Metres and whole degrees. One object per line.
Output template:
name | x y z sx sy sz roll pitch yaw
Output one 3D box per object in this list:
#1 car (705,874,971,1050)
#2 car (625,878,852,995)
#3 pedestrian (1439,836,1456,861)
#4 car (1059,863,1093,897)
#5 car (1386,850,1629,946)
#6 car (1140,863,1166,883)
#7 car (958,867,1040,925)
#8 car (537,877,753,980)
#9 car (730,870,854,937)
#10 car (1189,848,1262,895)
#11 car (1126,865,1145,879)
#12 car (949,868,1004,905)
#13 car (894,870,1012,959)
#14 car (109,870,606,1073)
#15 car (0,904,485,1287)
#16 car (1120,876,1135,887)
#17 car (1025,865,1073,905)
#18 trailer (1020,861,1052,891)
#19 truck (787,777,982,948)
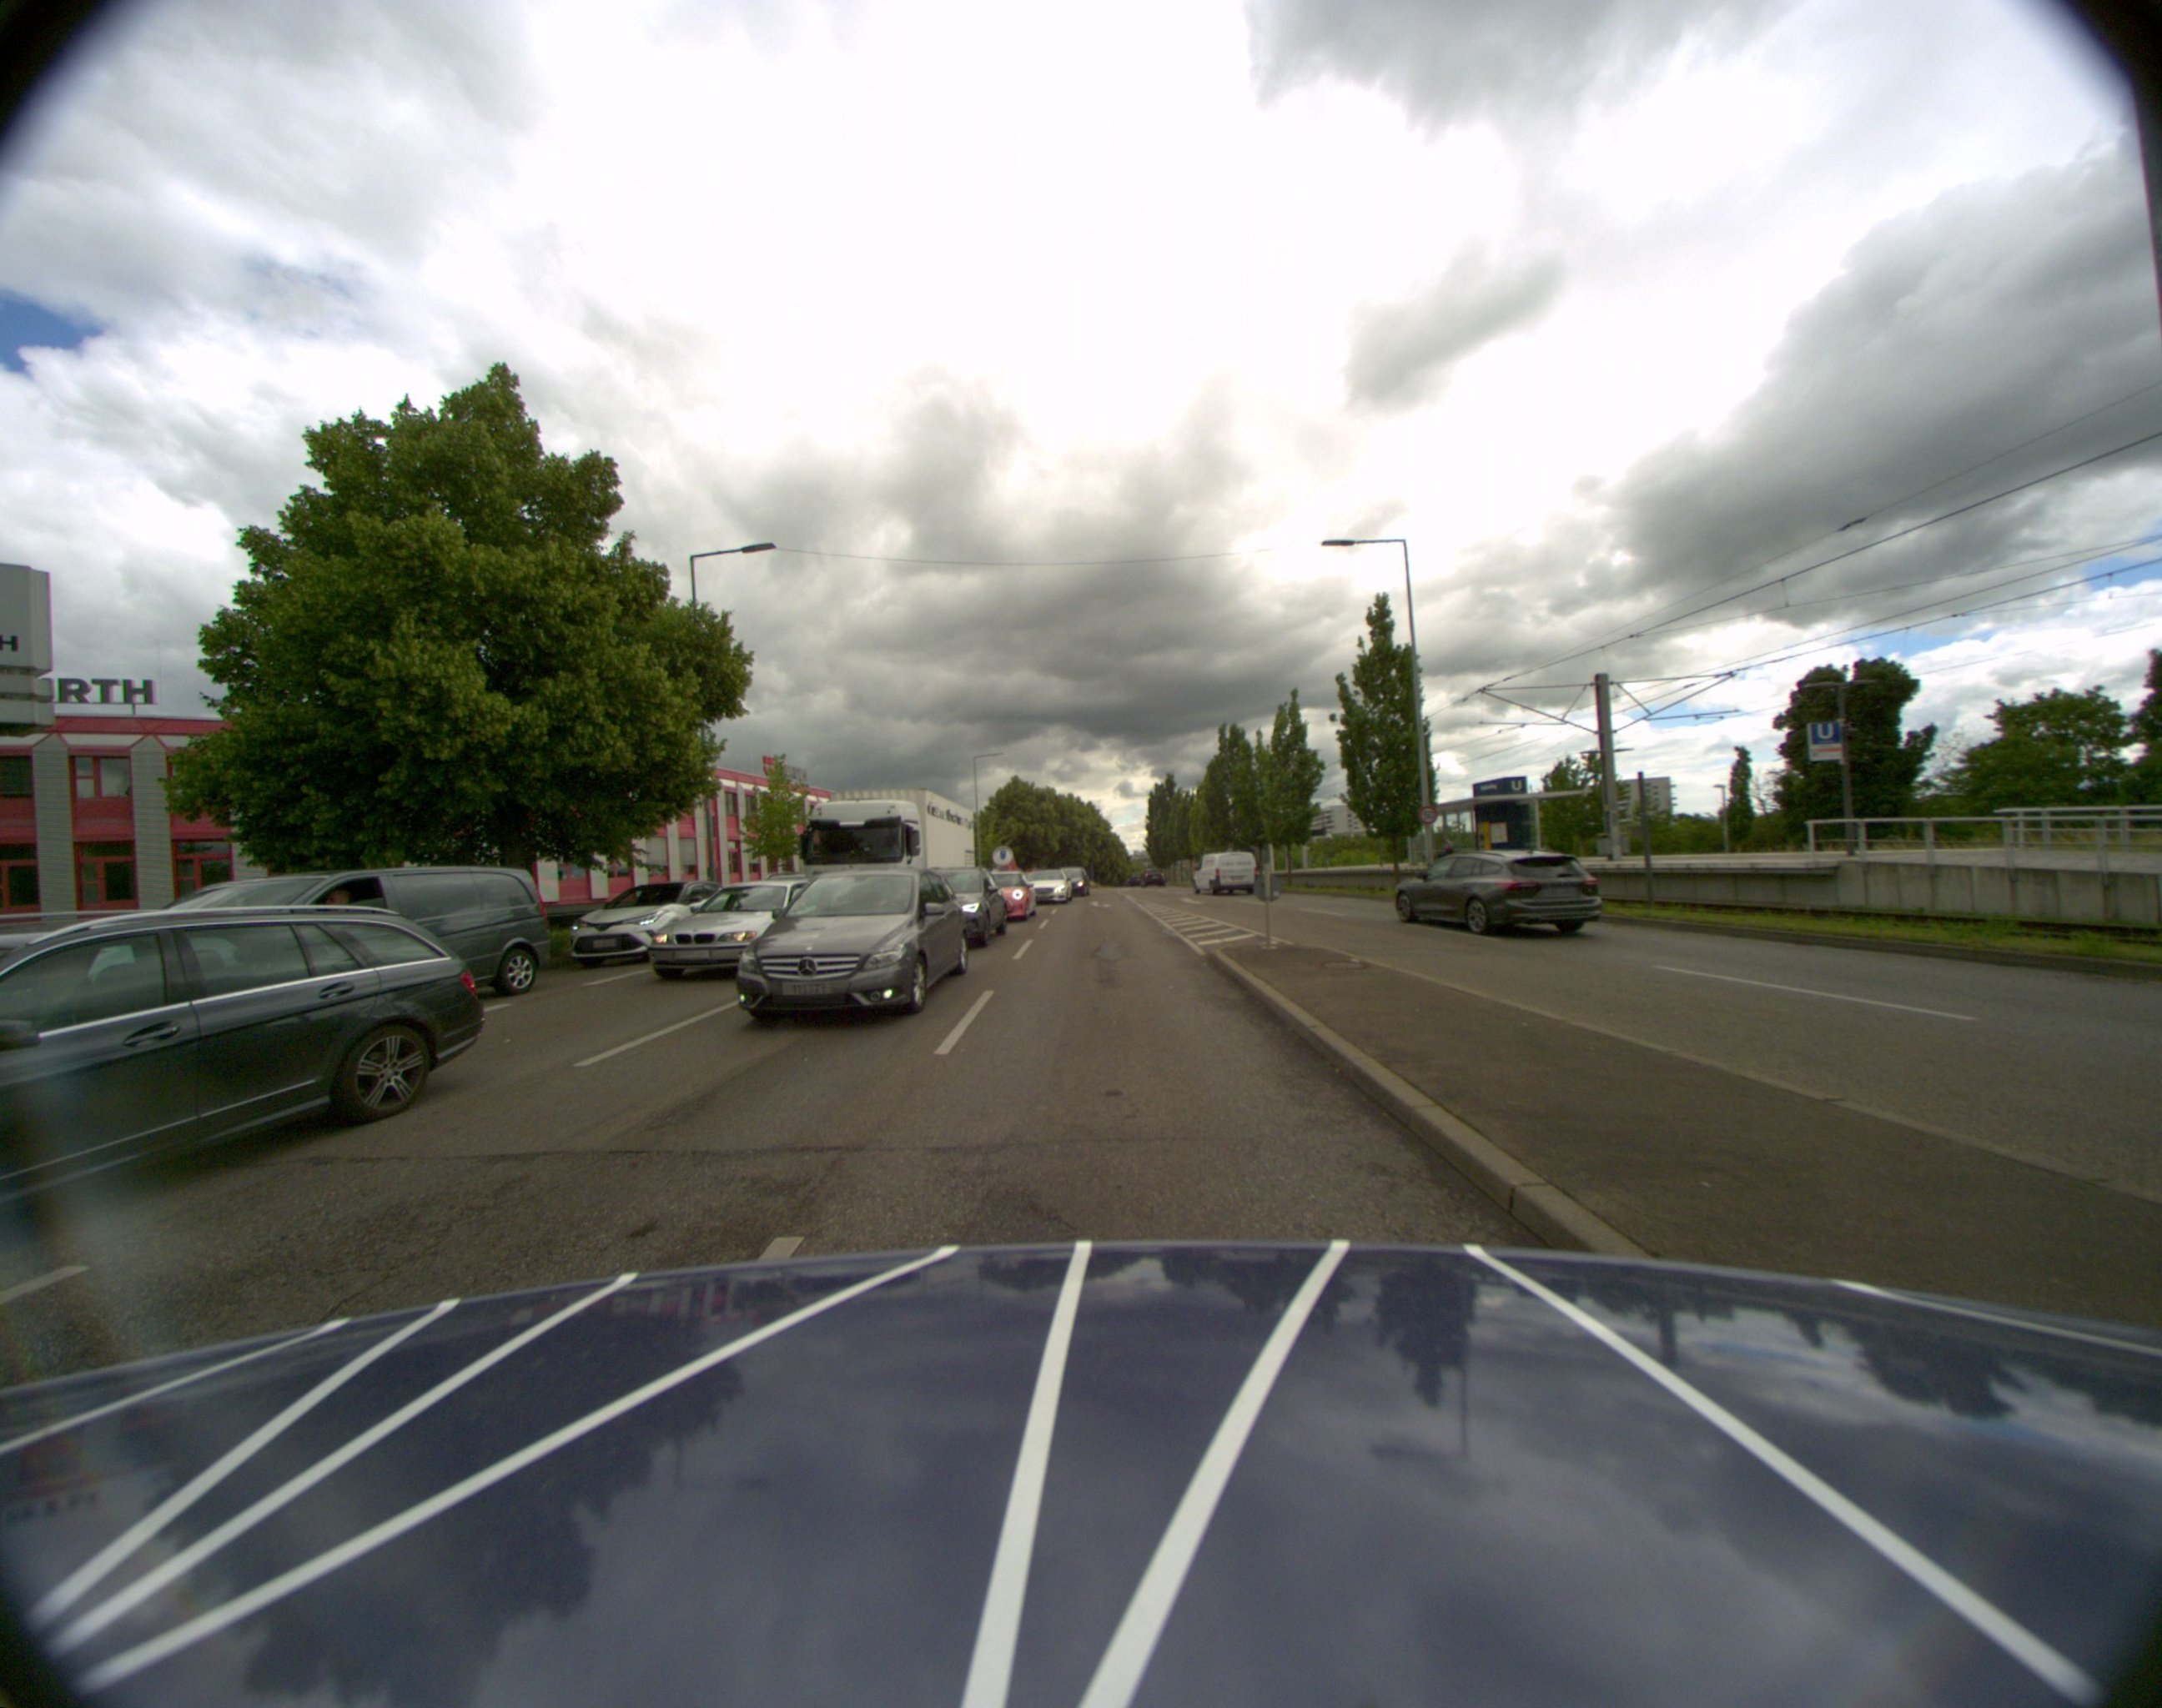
car | -2.525 1.043 8.990 1.750 1.499 4.048 -2 -1 1
car | -5.416 1.225 12.719 1.750 1.375 4.290 -2 1 1
pedestrian | 17.741 -0.268 36.791 0.601 1.148 0.447 -2 1 1
car | -0.229 1.330 40.391 1.669 1.589 3.996 -2 1 0
car | 7.645 0.678 14.227 1.875 1.416 4.431 -2 1 -3
car | 5.812 1.523 61.609 1.700 1.440 3.660 -2 0 0
car | -2.283 1.150 21.986 1.825 1.497 3.495 -2 -1 2
car | -8.595 1.379 15.484 1.844 1.507 4.106 -6 0 1
car | -8.310 1.362 22.271 1.865 1.648 4.209 -4 -1 1
car | 6.577 0.731 35.291 1.921 1.953 5.370 -2 1 -5
car | 5.981 1.996 83.794 1.700 1.440 3.934 -2 -1 -1
car | -4.769 1.445 35.197 1.851 1.521 4.377 -2 -1 0
car | -2.451 1.109 15.410 1.628 1.484 3.838 -2 -1 1
car | -8.720 1.232 9.951 1.763 1.764 4.675 -6 0 2
car | -5.471 1.133 3.611 1.750 1.476 4.356 -2 0 1
car | 6.427 3.795 105.446 1.813 1.440 3.934 -2 0 -1
car | -1.294 1.273 32.375 1.804 1.403 4.316 -2 1 1
trailer | -3.054 1.488 52.214 1.775 1.650 3.995 -2 3 1
truck | -5.256 0.218 22.824 2.809 3.880 10.182 -2 0 2
